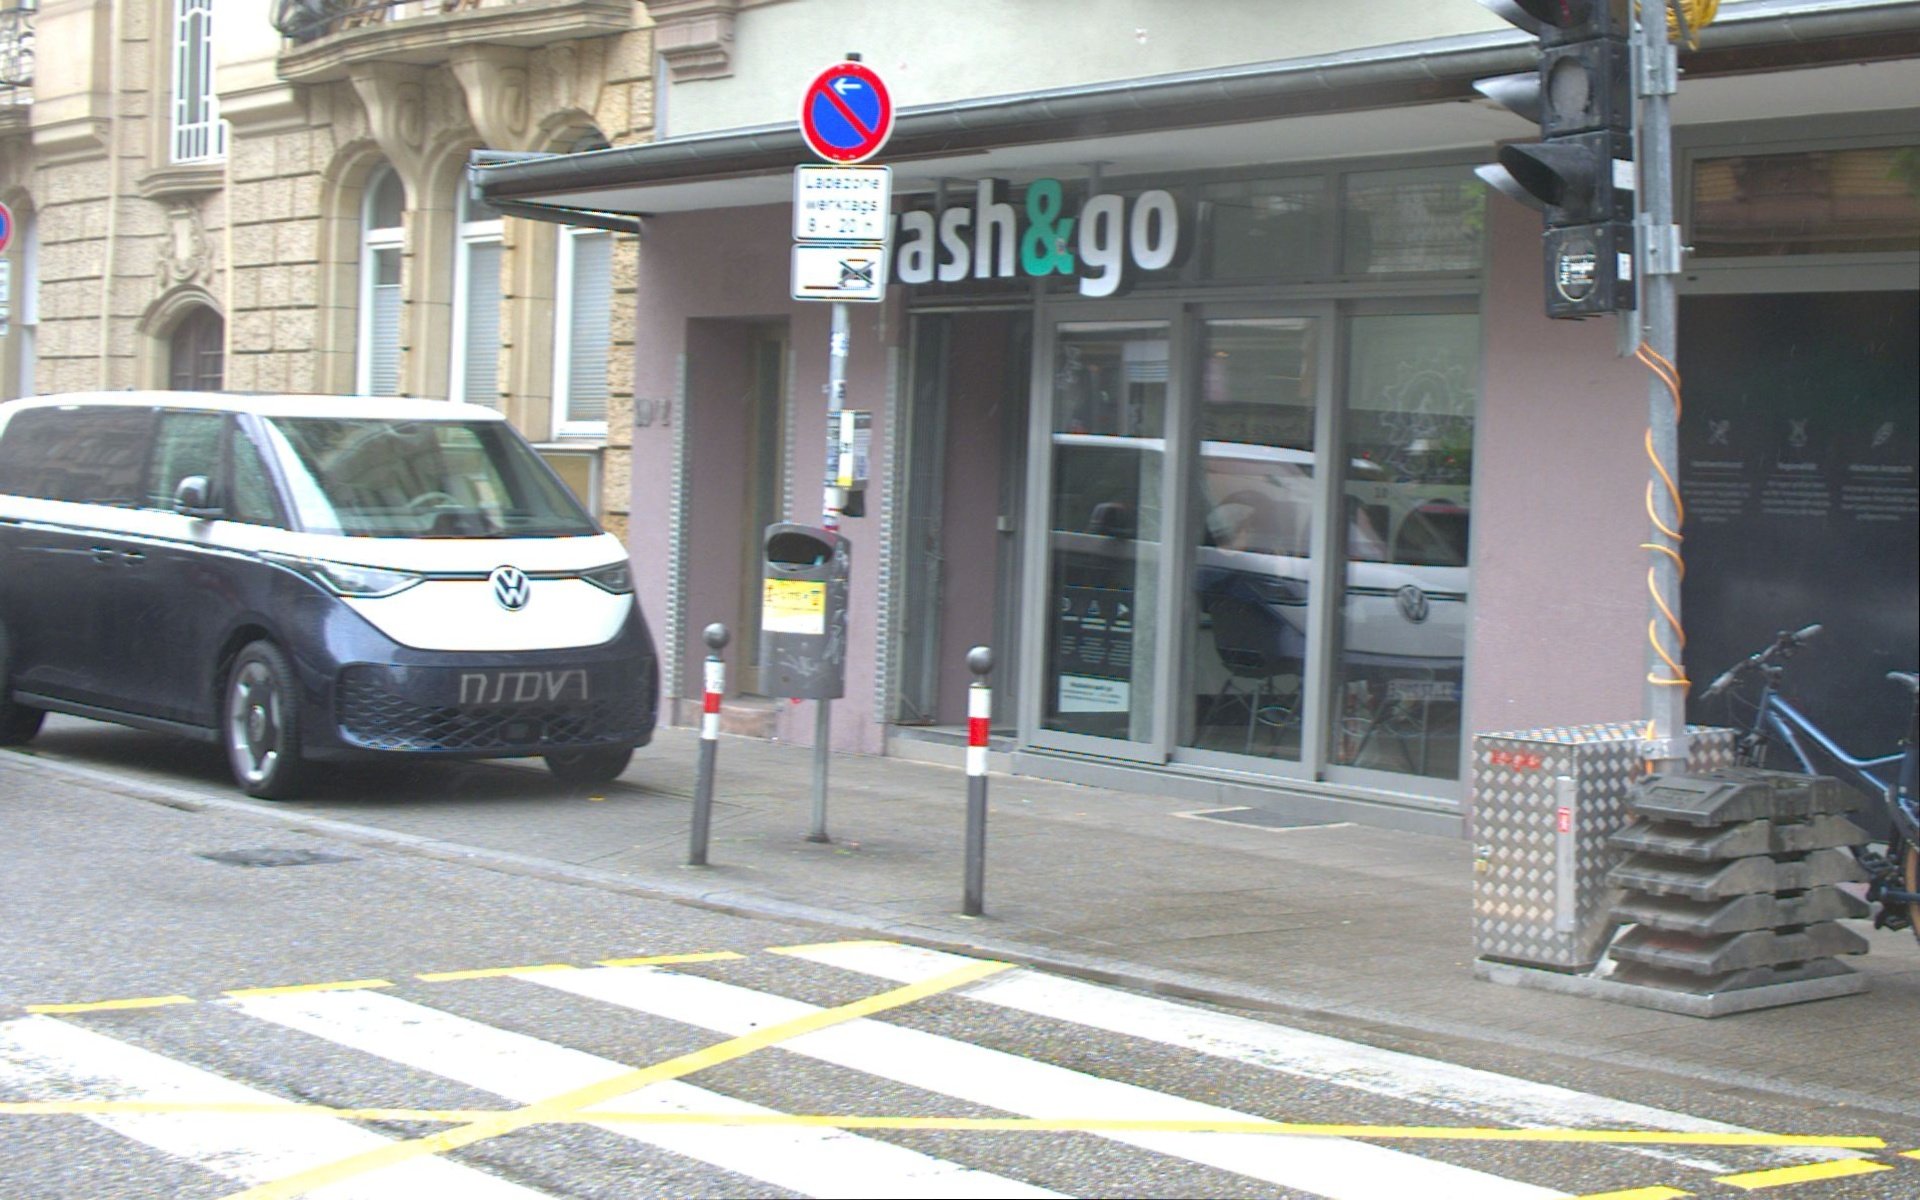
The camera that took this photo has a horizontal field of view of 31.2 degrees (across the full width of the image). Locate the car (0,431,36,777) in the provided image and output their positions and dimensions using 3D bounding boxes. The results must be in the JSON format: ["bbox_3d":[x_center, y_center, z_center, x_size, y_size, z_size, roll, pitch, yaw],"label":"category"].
[{"bbox_3d":[-6.594,-0.081,17.876,1.899,1.665,4.505,0,3,-37],"label":"car"}]

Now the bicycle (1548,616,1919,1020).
[{"bbox_3d":[2.809,0.663,10.742,0.624,1.124,1.938,1,2,-39],"label":"bicycle"}]

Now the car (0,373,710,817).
[{"bbox_3d":[-3.587,-0.155,17.612,1.994,1.932,5.229,-1,3,-38],"label":"car"}]
